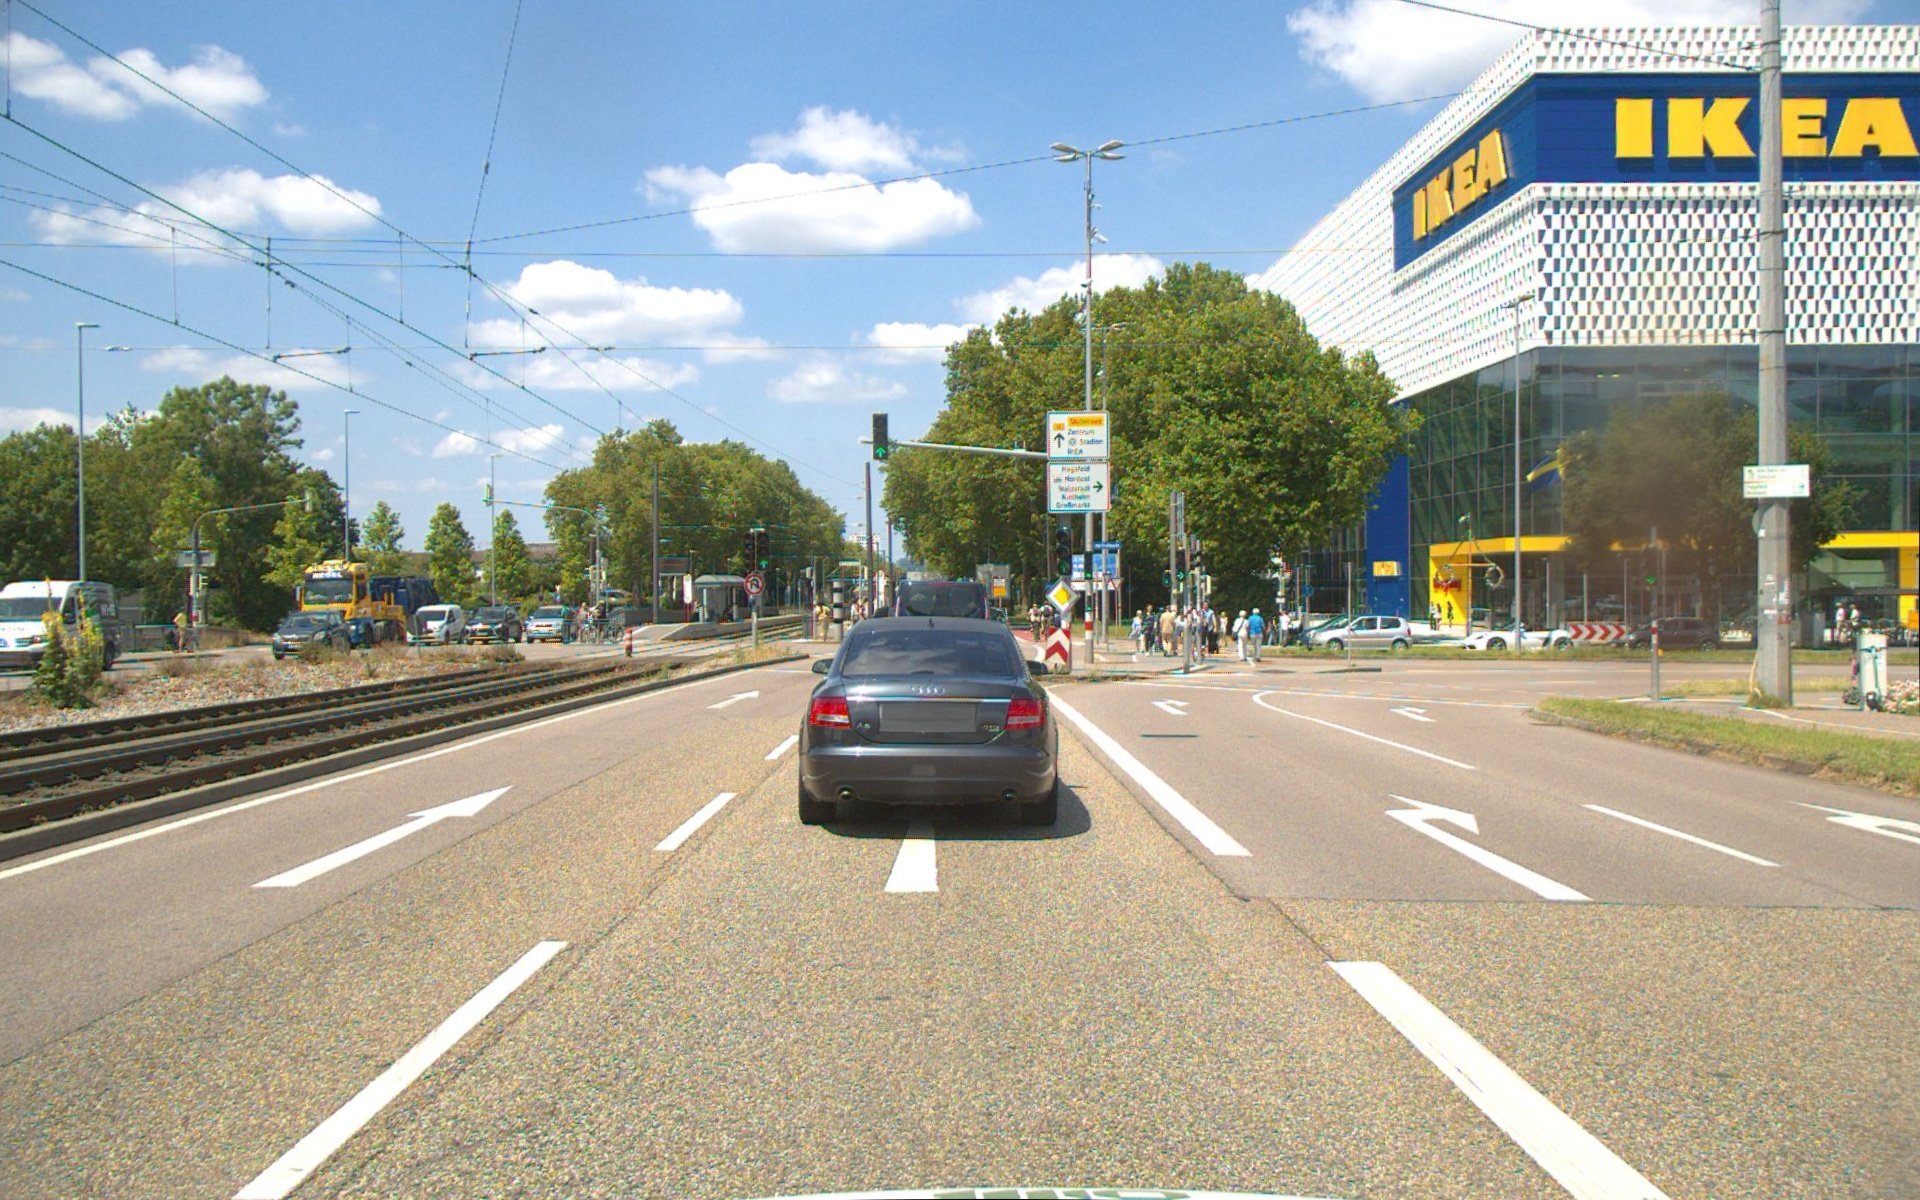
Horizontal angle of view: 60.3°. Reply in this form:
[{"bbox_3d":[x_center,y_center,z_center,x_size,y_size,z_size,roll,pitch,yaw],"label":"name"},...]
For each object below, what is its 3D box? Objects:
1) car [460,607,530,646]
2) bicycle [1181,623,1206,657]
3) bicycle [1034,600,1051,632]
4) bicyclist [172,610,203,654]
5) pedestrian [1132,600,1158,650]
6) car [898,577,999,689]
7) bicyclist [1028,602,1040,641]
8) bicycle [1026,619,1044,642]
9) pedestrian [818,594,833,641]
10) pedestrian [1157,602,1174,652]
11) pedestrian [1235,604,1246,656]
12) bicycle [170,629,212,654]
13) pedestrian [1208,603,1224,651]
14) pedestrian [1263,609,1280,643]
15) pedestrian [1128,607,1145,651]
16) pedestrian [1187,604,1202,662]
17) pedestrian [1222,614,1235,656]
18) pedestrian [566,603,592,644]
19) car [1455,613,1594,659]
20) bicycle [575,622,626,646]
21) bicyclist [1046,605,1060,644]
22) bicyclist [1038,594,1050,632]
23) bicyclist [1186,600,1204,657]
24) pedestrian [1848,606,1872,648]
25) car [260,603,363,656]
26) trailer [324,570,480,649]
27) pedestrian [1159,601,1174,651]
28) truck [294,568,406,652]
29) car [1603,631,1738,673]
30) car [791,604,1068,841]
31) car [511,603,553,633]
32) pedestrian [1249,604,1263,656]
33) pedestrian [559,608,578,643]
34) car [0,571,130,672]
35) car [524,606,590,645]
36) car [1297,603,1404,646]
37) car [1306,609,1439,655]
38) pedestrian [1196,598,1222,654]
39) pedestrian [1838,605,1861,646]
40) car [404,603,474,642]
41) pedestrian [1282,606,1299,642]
[{"bbox_3d":[-21.256,1.187,75.802,1.784,1.699,4.462,1,0,2],"label":"car"},{"bbox_3d":[7.449,1.264,52.774,0.645,1.040,1.863,1,0,13],"label":"bicycle"},{"bbox_3d":[4.051,0.784,81.095,0.673,1.545,2.751,1,0,0],"label":"bicycle"},{"bbox_3d":[-31.835,1.314,68.154,1.097,1.805,0.340,1,-1,-6],"label":"bicyclist"},{"bbox_3d":[6.298,0.840,56.273,0.699,1.664,0.706,1,-1,25],"label":"pedestrian"},{"bbox_3d":[-0.244,0.600,31.492,1.799,1.984,3.999,0,-1,-1],"label":"car"},{"bbox_3d":[3.464,1.009,77.196,0.518,1.820,1.088,0,-1,0],"label":"bicyclist"},{"bbox_3d":[3.442,1.396,76.388,0.673,1.011,2.751,1,0,0],"label":"bicycle"},{"bbox_3d":[-5.917,0.765,72.805,0.672,2.049,0.572,0,-1,-5],"label":"pedestrian"},{"bbox_3d":[6.956,0.905,55.972,0.542,1.664,0.433,1,0,2],"label":"pedestrian"},{"bbox_3d":[9.066,0.974,53.457,0.314,1.664,0.377,1,0,2],"label":"pedestrian"},{"bbox_3d":[-31.683,1.717,68.170,1.461,1.004,0.485,1,-1,-5],"label":"bicycle"},{"bbox_3d":[9.130,0.965,58.957,0.510,1.699,0.494,1,0,2],"label":"pedestrian"},{"bbox_3d":[14.501,1.204,77.040,0.690,1.572,0.678,1,0,18],"label":"pedestrian"},{"bbox_3d":[6.339,1.044,59.376,0.483,1.546,0.707,1,0,16],"label":"pedestrian"},{"bbox_3d":[6.788,0.956,47.853,0.373,1.664,0.377,1,0,2],"label":"pedestrian"},{"bbox_3d":[8.706,1.134,53.630,0.365,1.326,0.365,1,0,2],"label":"pedestrian"},{"bbox_3d":[-16.542,1.022,71.788,0.806,1.750,0.775,0,-1,21],"label":"pedestrian"},{"bbox_3d":[20.648,1.303,60.634,4.403,1.512,2.001,2,0,3],"label":"car"},{"bbox_3d":[-14.886,1.411,68.451,2.019,0.941,0.751,1,0,-11],"label":"bicycle"},{"bbox_3d":[4.009,1.051,71.363,0.518,1.705,1.088,0,-1,-1],"label":"bicyclist"},{"bbox_3d":[4.102,0.630,80.735,0.518,1.820,1.088,0,-1,-1],"label":"bicyclist"},{"bbox_3d":[7.524,0.907,52.928,0.517,1.795,0.828,0,-1,13],"label":"bicyclist"},{"bbox_3d":[43.788,1.301,80.459,0.696,2.049,0.824,1,0,1],"label":"pedestrian"},{"bbox_3d":[-22.277,0.977,57.002,1.785,1.699,4.460,1,0,-1],"label":"car"},{"bbox_3d":[-27.722,0.487,83.318,2.711,3.580,15.874,1,0,-1],"label":"trailer"},{"bbox_3d":[6.972,0.867,55.916,0.435,1.664,0.430,1,0,2],"label":"pedestrian"},{"bbox_3d":[-27.576,0.447,75.052,2.711,3.631,6.438,1,0,-1],"label":"truck"},{"bbox_3d":[27.577,2.012,64.312,4.403,1.512,2.001,1,0,3],"label":"car"},{"bbox_3d":[-0.215,0.780,12.497,1.756,1.480,3.999,0,0,-1],"label":"car"},{"bbox_3d":[-28.003,1.180,108.372,1.781,1.916,3.999,1,0,-1],"label":"car"},{"bbox_3d":[9.564,0.965,53.434,0.389,1.664,0.371,1,0,2],"label":"pedestrian"},{"bbox_3d":[-16.396,1.053,69.259,0.671,1.469,0.572,0,-1,-4],"label":"pedestrian"},{"bbox_3d":[-25.805,0.576,46.757,2.201,2.634,6.223,-2,0,-8],"label":"car"},{"bbox_3d":[-18.520,1.151,76.198,1.784,1.699,4.462,1,0,2],"label":"car"},{"bbox_3d":[15.044,0.920,63.888,3.710,1.512,2.001,2,0,3],"label":"car"},{"bbox_3d":[15.070,1.157,60.626,4.403,1.512,2.001,2,0,3],"label":"car"},{"bbox_3d":[8.411,0.878,55.855,0.671,1.878,0.706,1,-1,25],"label":"pedestrian"},{"bbox_3d":[43.860,1.253,81.572,0.696,2.049,0.824,1,0,1],"label":"pedestrian"},{"bbox_3d":[-24.189,1.025,76.973,1.785,1.699,4.461,1,0,0],"label":"car"},{"bbox_3d":[15.350,1.111,76.795,0.690,1.664,0.612,1,0,18],"label":"pedestrian"}]
